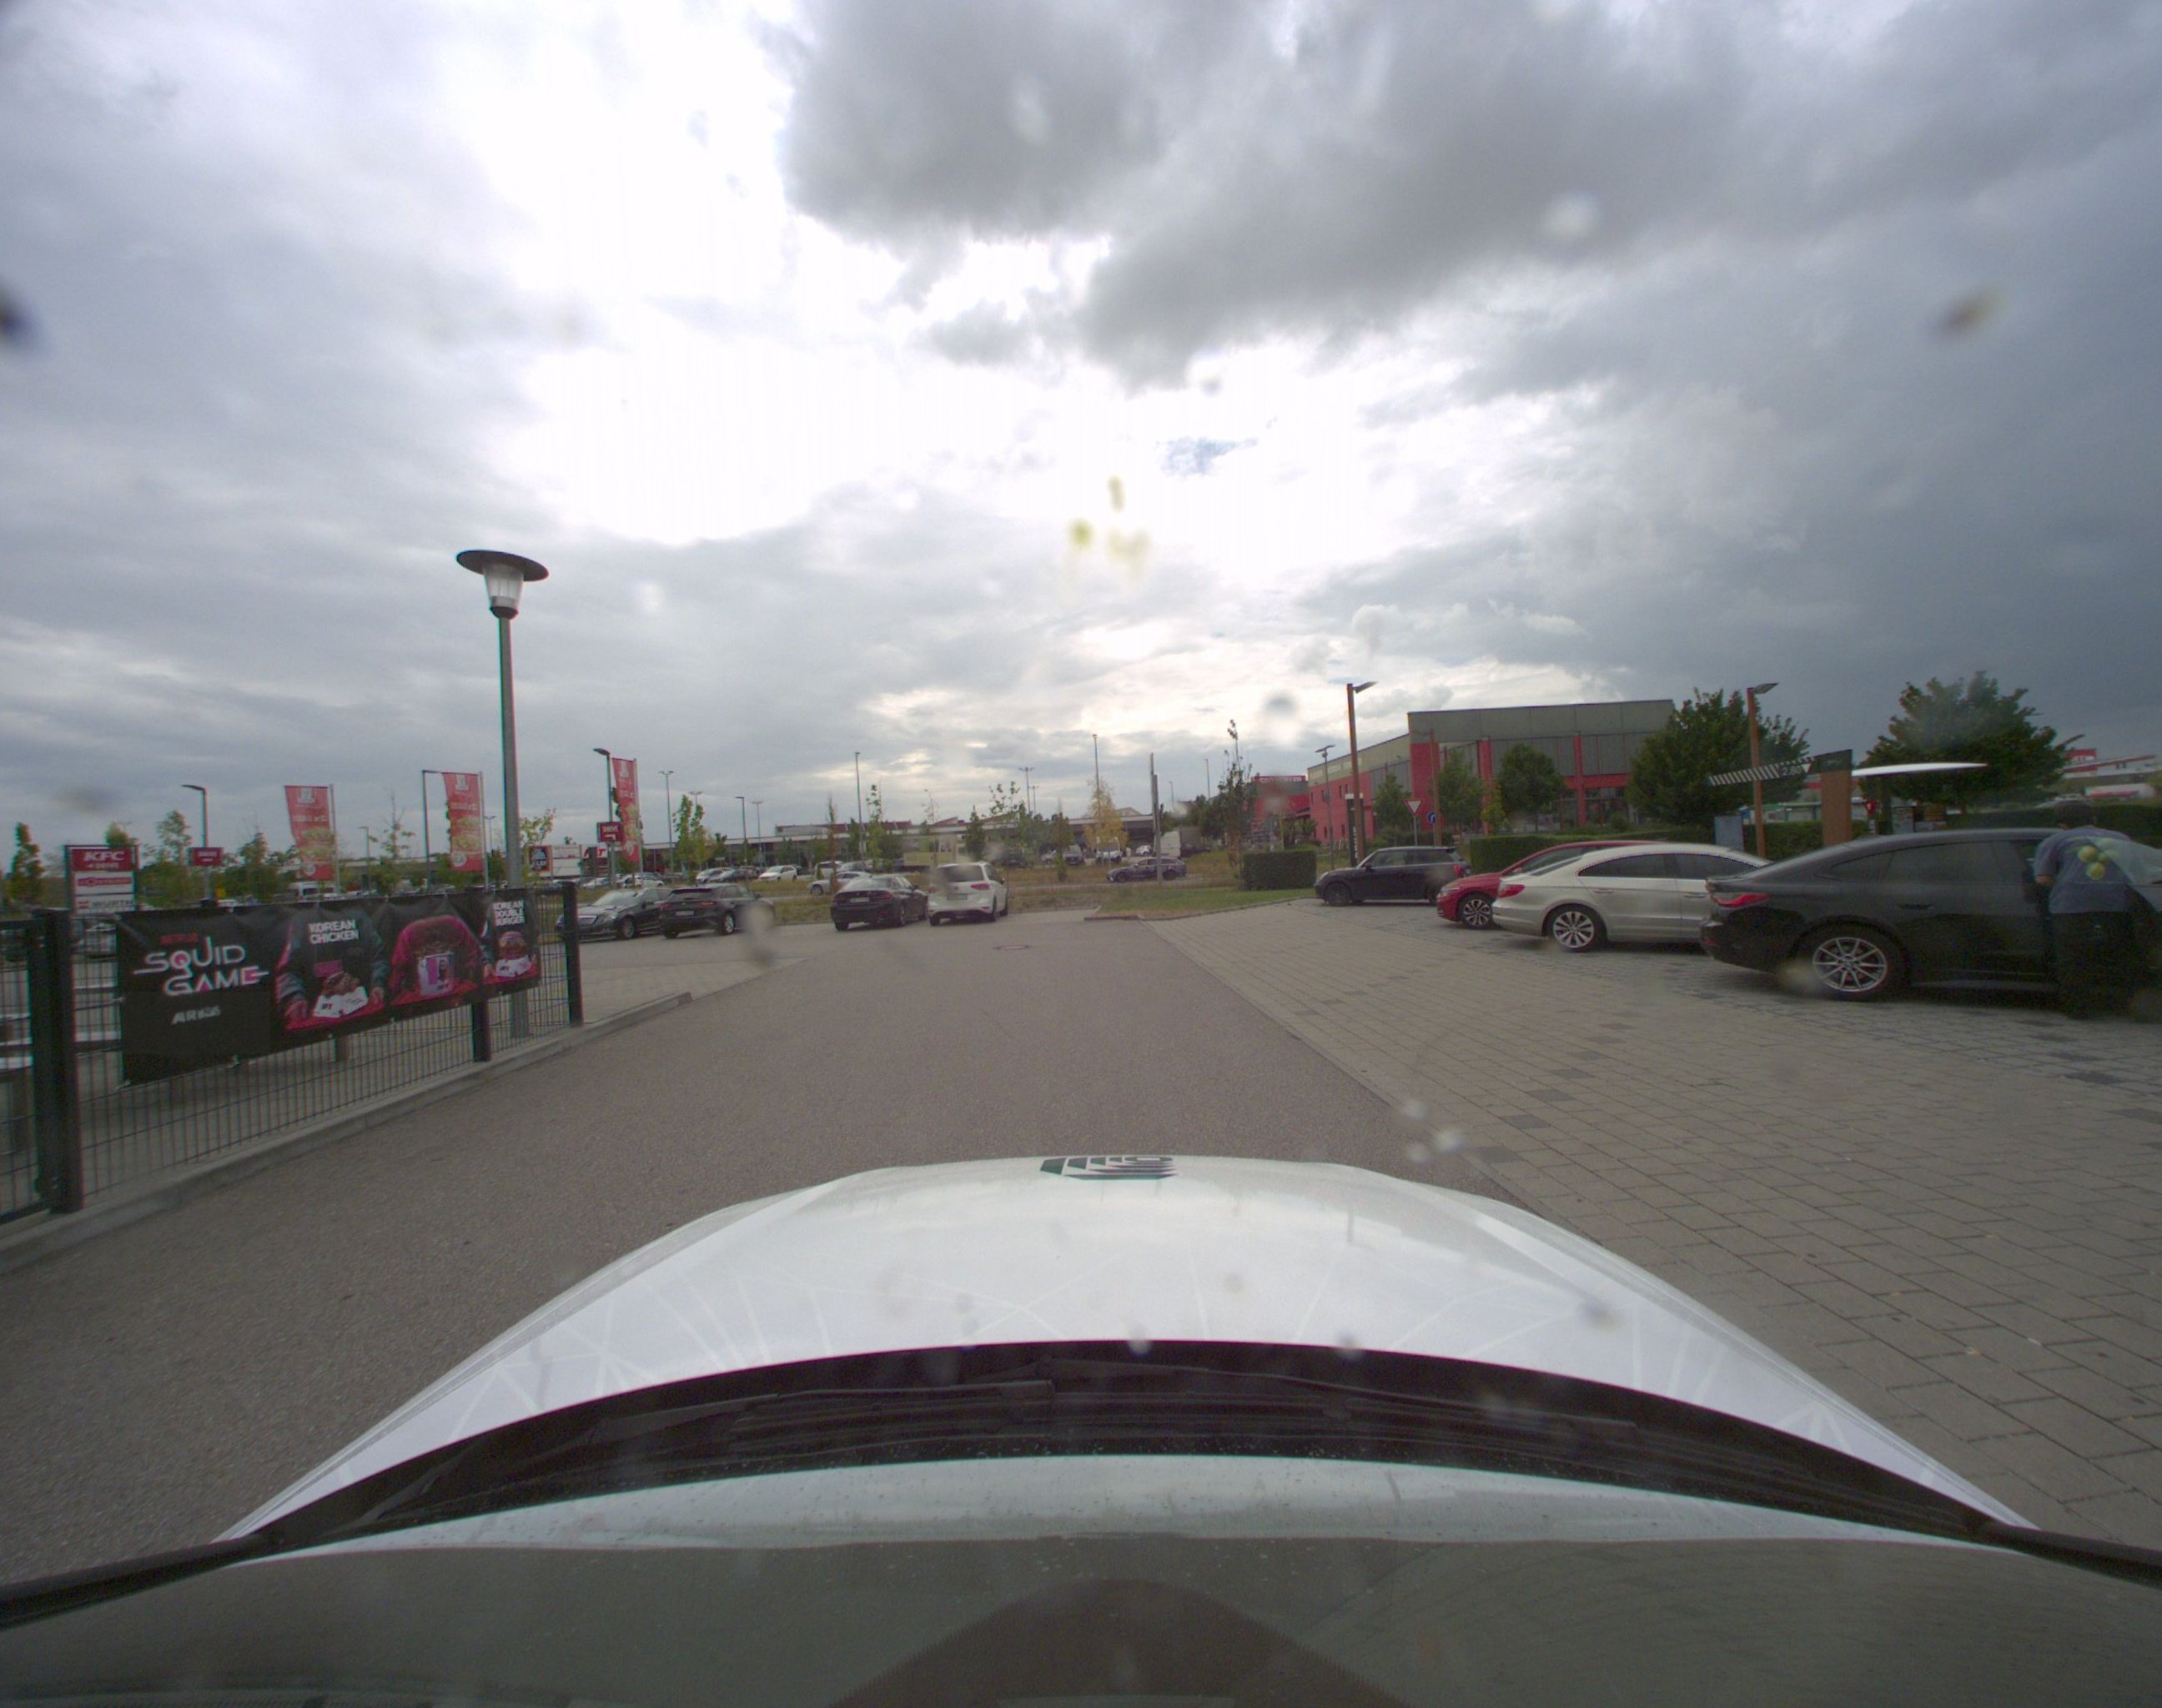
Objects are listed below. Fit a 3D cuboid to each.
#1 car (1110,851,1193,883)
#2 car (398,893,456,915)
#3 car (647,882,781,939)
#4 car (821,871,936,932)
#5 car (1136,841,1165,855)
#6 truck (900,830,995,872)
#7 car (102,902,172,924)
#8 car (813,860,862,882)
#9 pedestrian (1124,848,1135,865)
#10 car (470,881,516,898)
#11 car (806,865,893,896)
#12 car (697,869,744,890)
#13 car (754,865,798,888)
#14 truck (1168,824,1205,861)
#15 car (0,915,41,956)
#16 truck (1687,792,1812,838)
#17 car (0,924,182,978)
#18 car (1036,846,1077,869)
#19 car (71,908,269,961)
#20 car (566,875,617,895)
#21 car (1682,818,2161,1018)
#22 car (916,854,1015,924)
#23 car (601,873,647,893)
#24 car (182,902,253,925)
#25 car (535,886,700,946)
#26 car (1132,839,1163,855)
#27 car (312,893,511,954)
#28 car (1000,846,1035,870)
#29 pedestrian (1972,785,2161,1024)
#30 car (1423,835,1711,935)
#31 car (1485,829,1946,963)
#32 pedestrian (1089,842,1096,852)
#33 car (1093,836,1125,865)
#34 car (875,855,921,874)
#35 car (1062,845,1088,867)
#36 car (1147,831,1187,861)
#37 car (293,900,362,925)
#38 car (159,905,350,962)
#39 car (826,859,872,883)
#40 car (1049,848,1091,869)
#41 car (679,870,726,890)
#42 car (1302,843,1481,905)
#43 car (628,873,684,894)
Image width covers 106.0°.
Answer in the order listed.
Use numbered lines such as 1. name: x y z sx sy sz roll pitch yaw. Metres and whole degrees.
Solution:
1. car: 4.202 0.755 48.936 4.817 1.551 1.804 -3 1 4
2. car: -46.559 3.564 57.999 3.421 1.370 1.439 -3 1 17
3. car: -10.477 1.576 23.618 1.875 1.412 4.072 -3 -2 2
4. car: -5.605 1.278 23.153 1.934 1.466 4.518 -3 -2 2
5. car: 9.842 -0.912 115.607 3.971 1.736 1.936 -3 1 2
6. truck: -11.626 -0.227 70.261 8.322 3.195 3.049 -2 2 37
7. car: -73.154 4.550 63.123 4.175 1.394 1.775 -3 0 14
8. car: -23.039 1.607 77.163 3.953 1.771 2.011 -3 1 20
9. pedestrian: 4.040 0.206 68.282 0.782 1.429 0.978 -3 1 1
10. car: -73.671 4.434 102.115 4.163 1.837 1.998 -3 1 -3
11. car: -14.373 1.628 50.673 4.815 1.551 1.805 -3 1 5
12. car: -32.894 2.308 74.414 1.754 1.539 4.070 -3 1 13
13. car: -27.371 1.997 73.237 1.984 1.771 4.328 -3 1 5
14. truck: 11.523 -1.291 89.760 2.640 3.742 8.252 -3 1 -1
15. car: -43.695 3.298 31.245 1.843 1.544 4.236 -3 0 19
16. truck: 73.278 -4.182 89.799 3.743 4.498 11.997 -3 1 0
17. car: -34.481 3.327 28.274 1.708 1.428 4.017 -3 -1 17
18. car: -2.552 0.336 83.970 3.984 2.013 1.995 -4 1 -8
19. car: -29.999 2.620 27.002 1.821 1.412 3.954 -3 -2 14
20. car: -47.982 3.011 79.888 1.981 1.539 4.067 -3 1 10
21. car: 7.955 0.468 7.000 4.350 1.463 1.698 -2 0 40
22. car: -3.174 0.971 23.256 1.978 1.713 4.374 -3 -2 2
23. car: -44.160 2.802 78.772 1.756 1.539 3.774 -3 1 10
24. car: -65.066 4.487 61.370 4.237 1.499 1.865 -3 0 17
25. car: -13.465 1.742 24.054 1.897 1.456 4.746 -3 -2 3
26. car: 8.700 -0.960 107.063 3.971 1.837 2.001 -3 1 2
27. car: -20.312 2.057 25.017 1.908 1.541 4.556 -3 -2 9
28. car: -5.346 0.348 69.536 2.061 1.884 5.078 -3 0 6
29. pedestrian: 7.559 0.368 6.251 0.832 1.678 0.754 -3 -2 43
30. car: 8.161 0.495 13.860 3.948 1.464 1.698 -2 0 40
31. car: 7.928 0.491 10.662 4.402 1.412 1.765 -2 0 38
32. pedestrian: 1.875 -1.108 128.252 0.656 1.429 0.789 -4 1 -38
33. car: 2.322 -0.353 68.998 2.401 2.214 6.059 -3 1 0
34. car: -19.378 1.094 86.376 4.293 1.771 2.000 -3 1 0
35. car: -0.463 0.107 68.604 2.064 1.638 5.070 -3 1 0
36. car: 7.174 -0.726 68.786 2.332 2.267 6.501 -3 1 -2
37. car: -53.142 4.143 57.436 3.954 1.459 1.839 -3 1 19
38. car: -25.444 2.409 25.263 1.722 1.412 3.819 -3 -2 11
39. car: -20.277 1.486 71.345 1.912 1.771 4.337 -3 1 13
40. car: -1.102 0.416 79.727 3.975 1.738 1.890 -3 1 -1
41. car: -35.005 2.406 75.430 1.754 1.539 4.070 -3 1 13
42. car: 7.800 0.520 20.603 3.879 1.412 1.698 -2 0 36
43. car: -39.560 2.734 75.910 1.976 1.539 4.183 -3 1 22
